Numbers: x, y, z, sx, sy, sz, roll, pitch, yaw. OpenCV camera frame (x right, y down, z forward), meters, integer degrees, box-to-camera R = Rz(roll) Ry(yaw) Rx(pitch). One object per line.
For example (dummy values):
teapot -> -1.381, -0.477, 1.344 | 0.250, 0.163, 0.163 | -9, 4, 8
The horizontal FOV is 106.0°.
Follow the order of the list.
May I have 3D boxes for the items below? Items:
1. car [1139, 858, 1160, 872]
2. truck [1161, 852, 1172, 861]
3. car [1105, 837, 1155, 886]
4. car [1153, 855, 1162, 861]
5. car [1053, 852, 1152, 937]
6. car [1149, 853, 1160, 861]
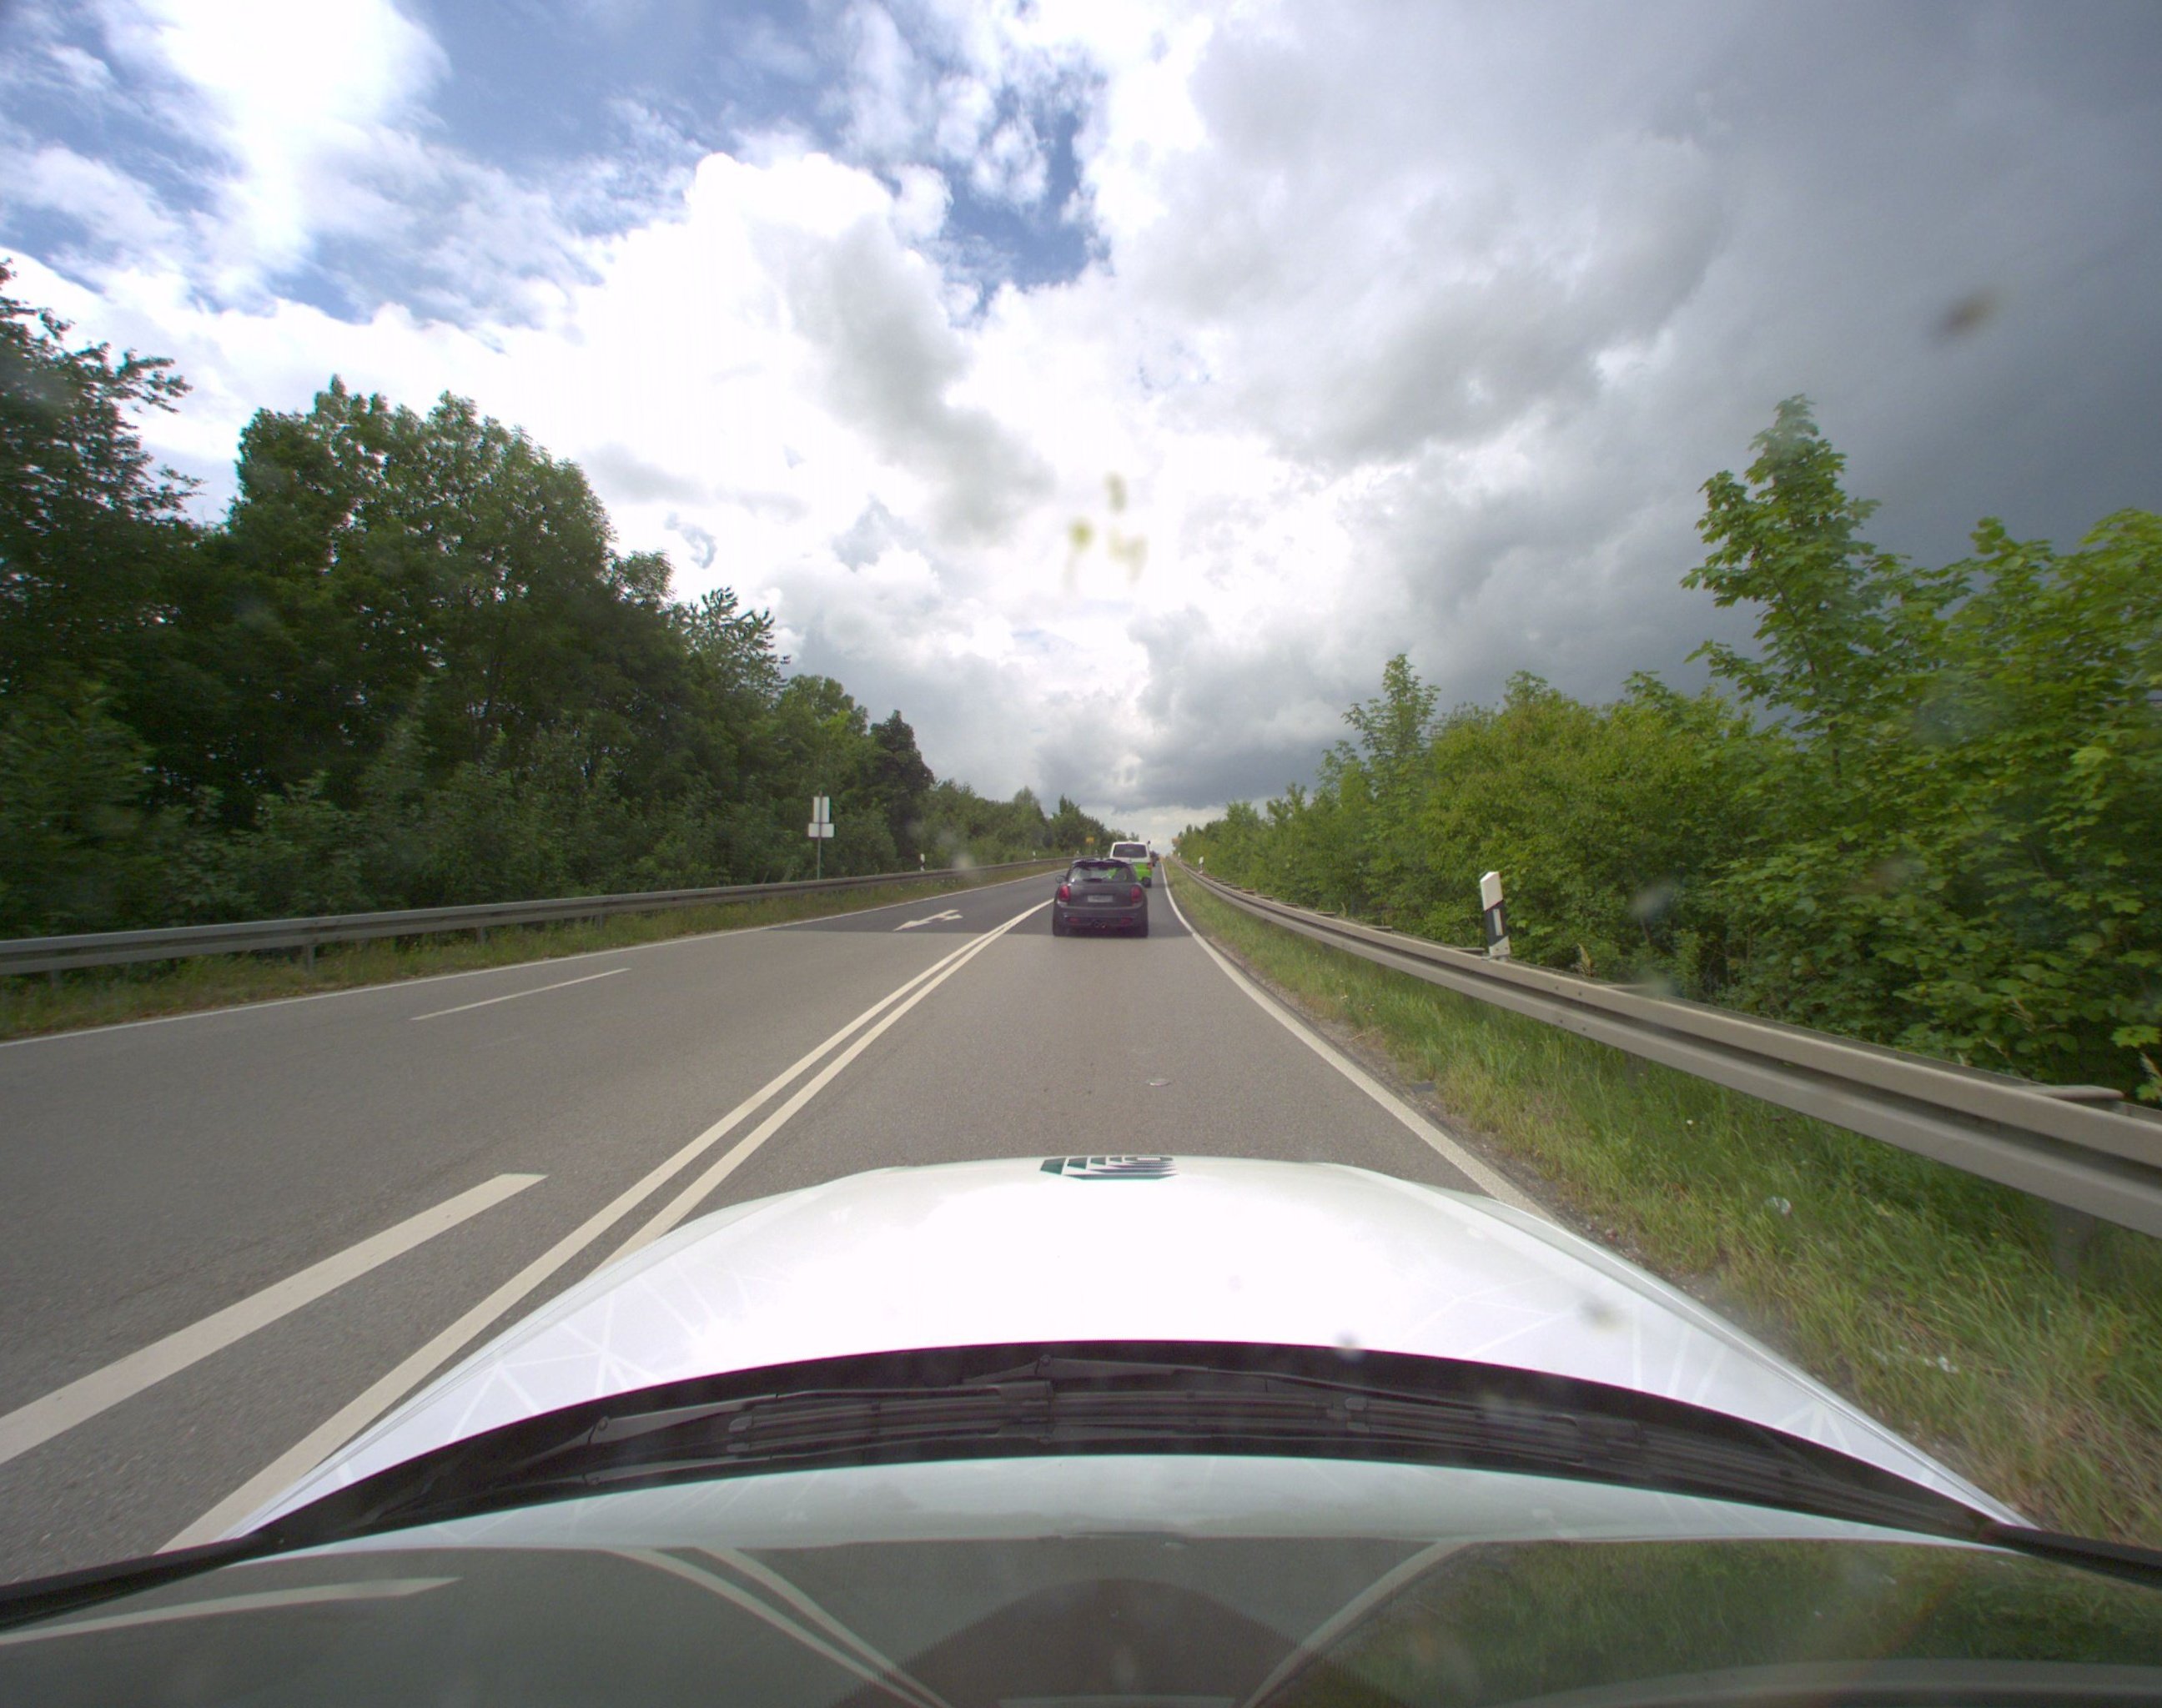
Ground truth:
car -> 6.460, 0.993, 76.536 | 1.685, 1.222, 4.008 | -1, 0, 7
truck -> 23.659, 0.756, 224.629 | 2.894, 2.372, 10.472 | -2, 0, 7
car -> 2.220, 0.319, 36.070 | 2.012, 2.013, 4.007 | 1, 0, 6
car -> 17.060, 0.888, 181.558 | 1.685, 1.319, 4.008 | -1, 0, 7
car -> 0.383, 0.703, 16.232 | 1.726, 1.455, 4.000 | 0, 1, 0
car -> 12.247, 0.445, 135.280 | 1.685, 1.319, 4.008 | -1, 0, 7
